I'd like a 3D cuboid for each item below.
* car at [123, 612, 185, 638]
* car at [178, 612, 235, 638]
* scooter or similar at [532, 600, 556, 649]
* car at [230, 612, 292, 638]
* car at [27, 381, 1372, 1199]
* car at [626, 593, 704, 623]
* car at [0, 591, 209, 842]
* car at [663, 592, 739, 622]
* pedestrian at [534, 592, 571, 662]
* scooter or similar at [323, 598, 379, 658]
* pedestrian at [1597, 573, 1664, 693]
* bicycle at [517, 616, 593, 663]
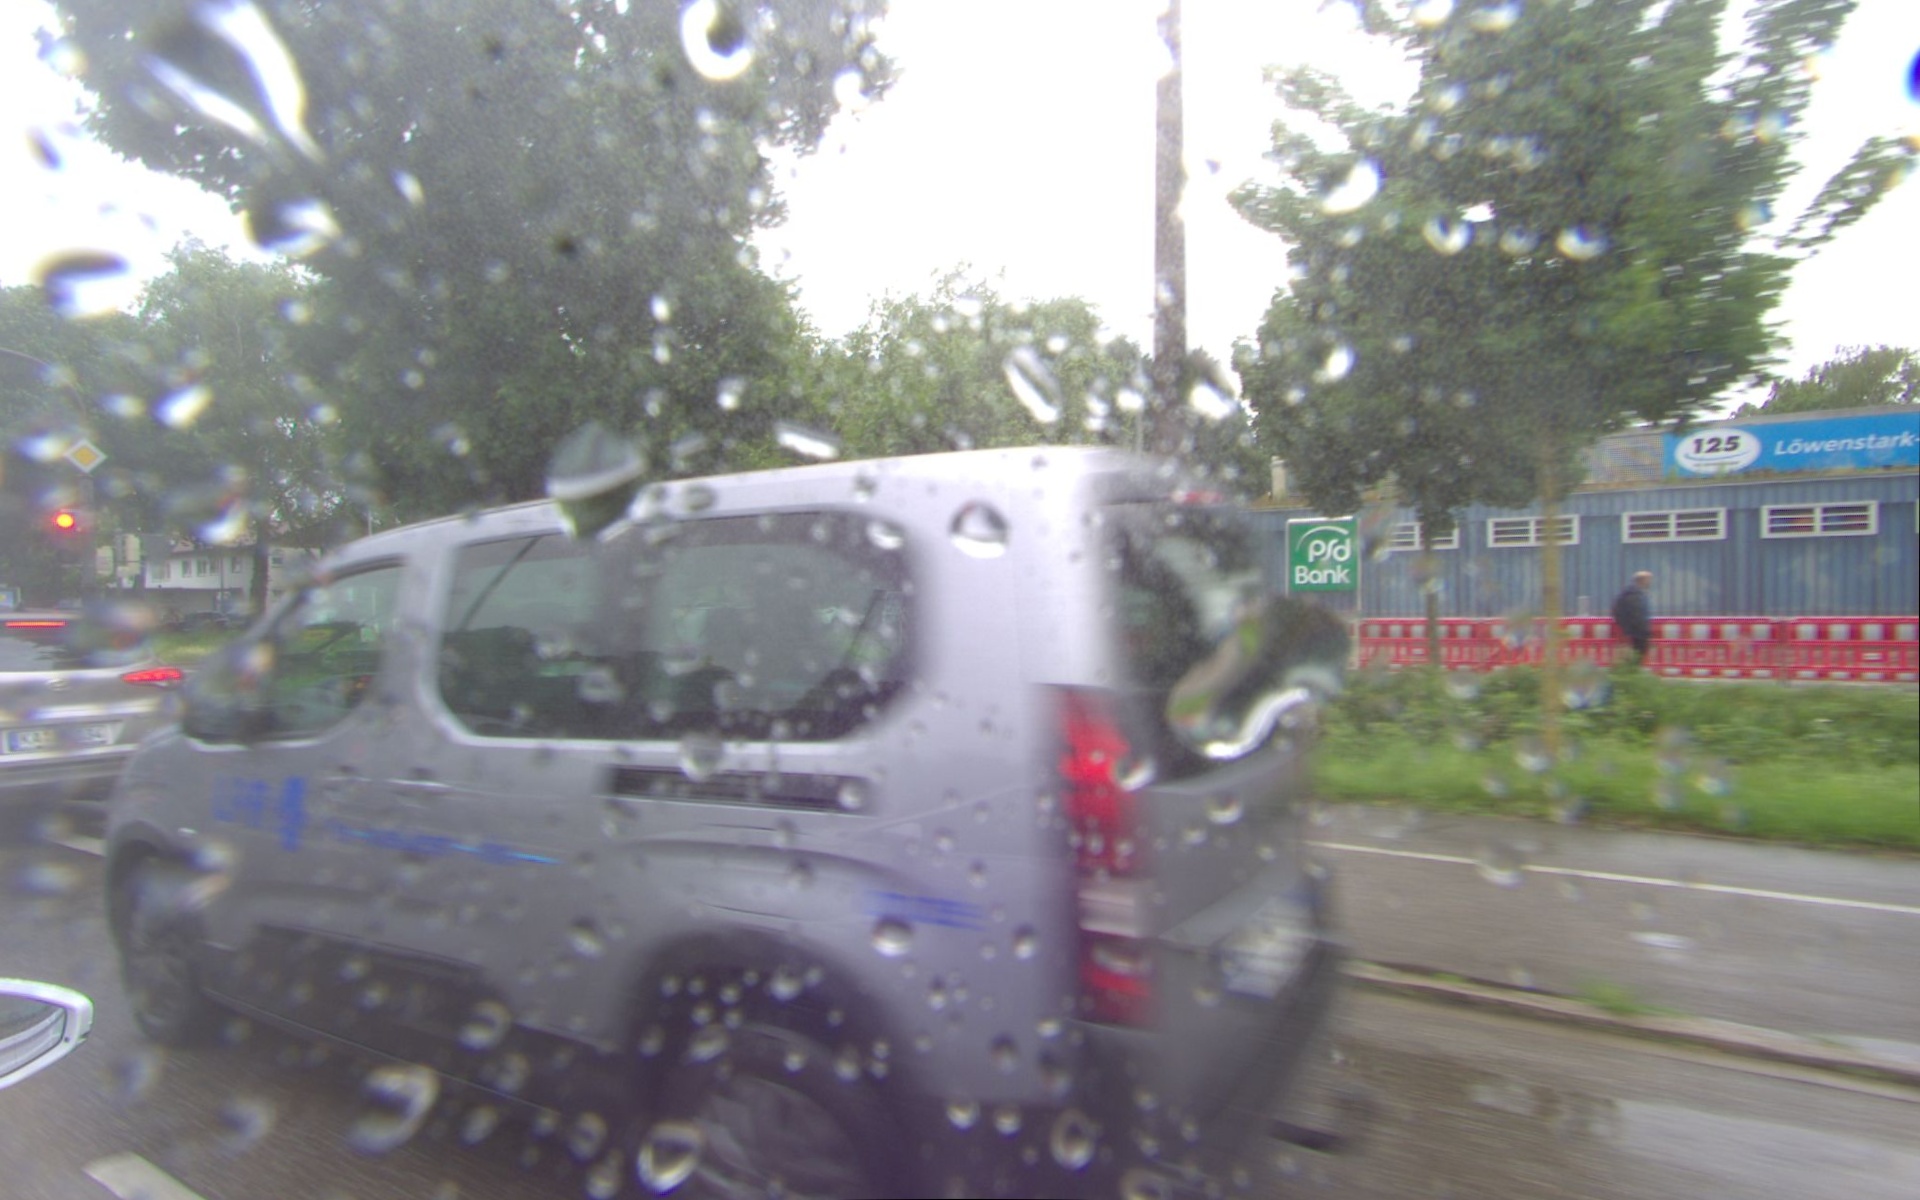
[{"bbox_3d":[-46.556,1.472,57.933,1.641,1.467,3.744,0,-2,-20],"label":"car"},{"bbox_3d":[-44.411,1.508,59.103,1.641,1.467,3.744,0,-2,-20],"label":"car"},{"bbox_3d":[-10.155,0.600,24.455,0.553,1.192,0.284,0,1,38],"label":"scooter or similar"},{"bbox_3d":[-41.484,1.515,59.515,1.639,1.467,3.750,0,-2,-11],"label":"car"},{"bbox_3d":[-1.121,0.646,3.490,4.496,1.819,1.991,-1,-1,31],"label":"car"},{"bbox_3d":[-17.144,0.496,58.421,1.893,1.603,4.591,-1,-2,23],"label":"car"},{"bbox_3d":[-7.873,0.807,7.839,4.136,1.631,1.881,-1,-1,33],"label":"car"},{"bbox_3d":[-14.788,0.456,57.446,1.893,1.603,4.591,-1,-2,23],"label":"car"},{"bbox_3d":[-10.403,0.677,25.590,0.657,1.702,0.788,-3,4,-13],"label":"pedestrian"},{"bbox_3d":[-12.882,0.584,21.204,0.317,1.246,0.954,0,1,36],"label":"scooter or similar"},{"bbox_3d":[10.958,0.540,16.385,0.863,1.920,0.578,-1,-1,31],"label":"pedestrian"},{"bbox_3d":[-10.345,0.996,25.622,1.634,1.053,0.788,-3,4,-13],"label":"bicycle"}]
